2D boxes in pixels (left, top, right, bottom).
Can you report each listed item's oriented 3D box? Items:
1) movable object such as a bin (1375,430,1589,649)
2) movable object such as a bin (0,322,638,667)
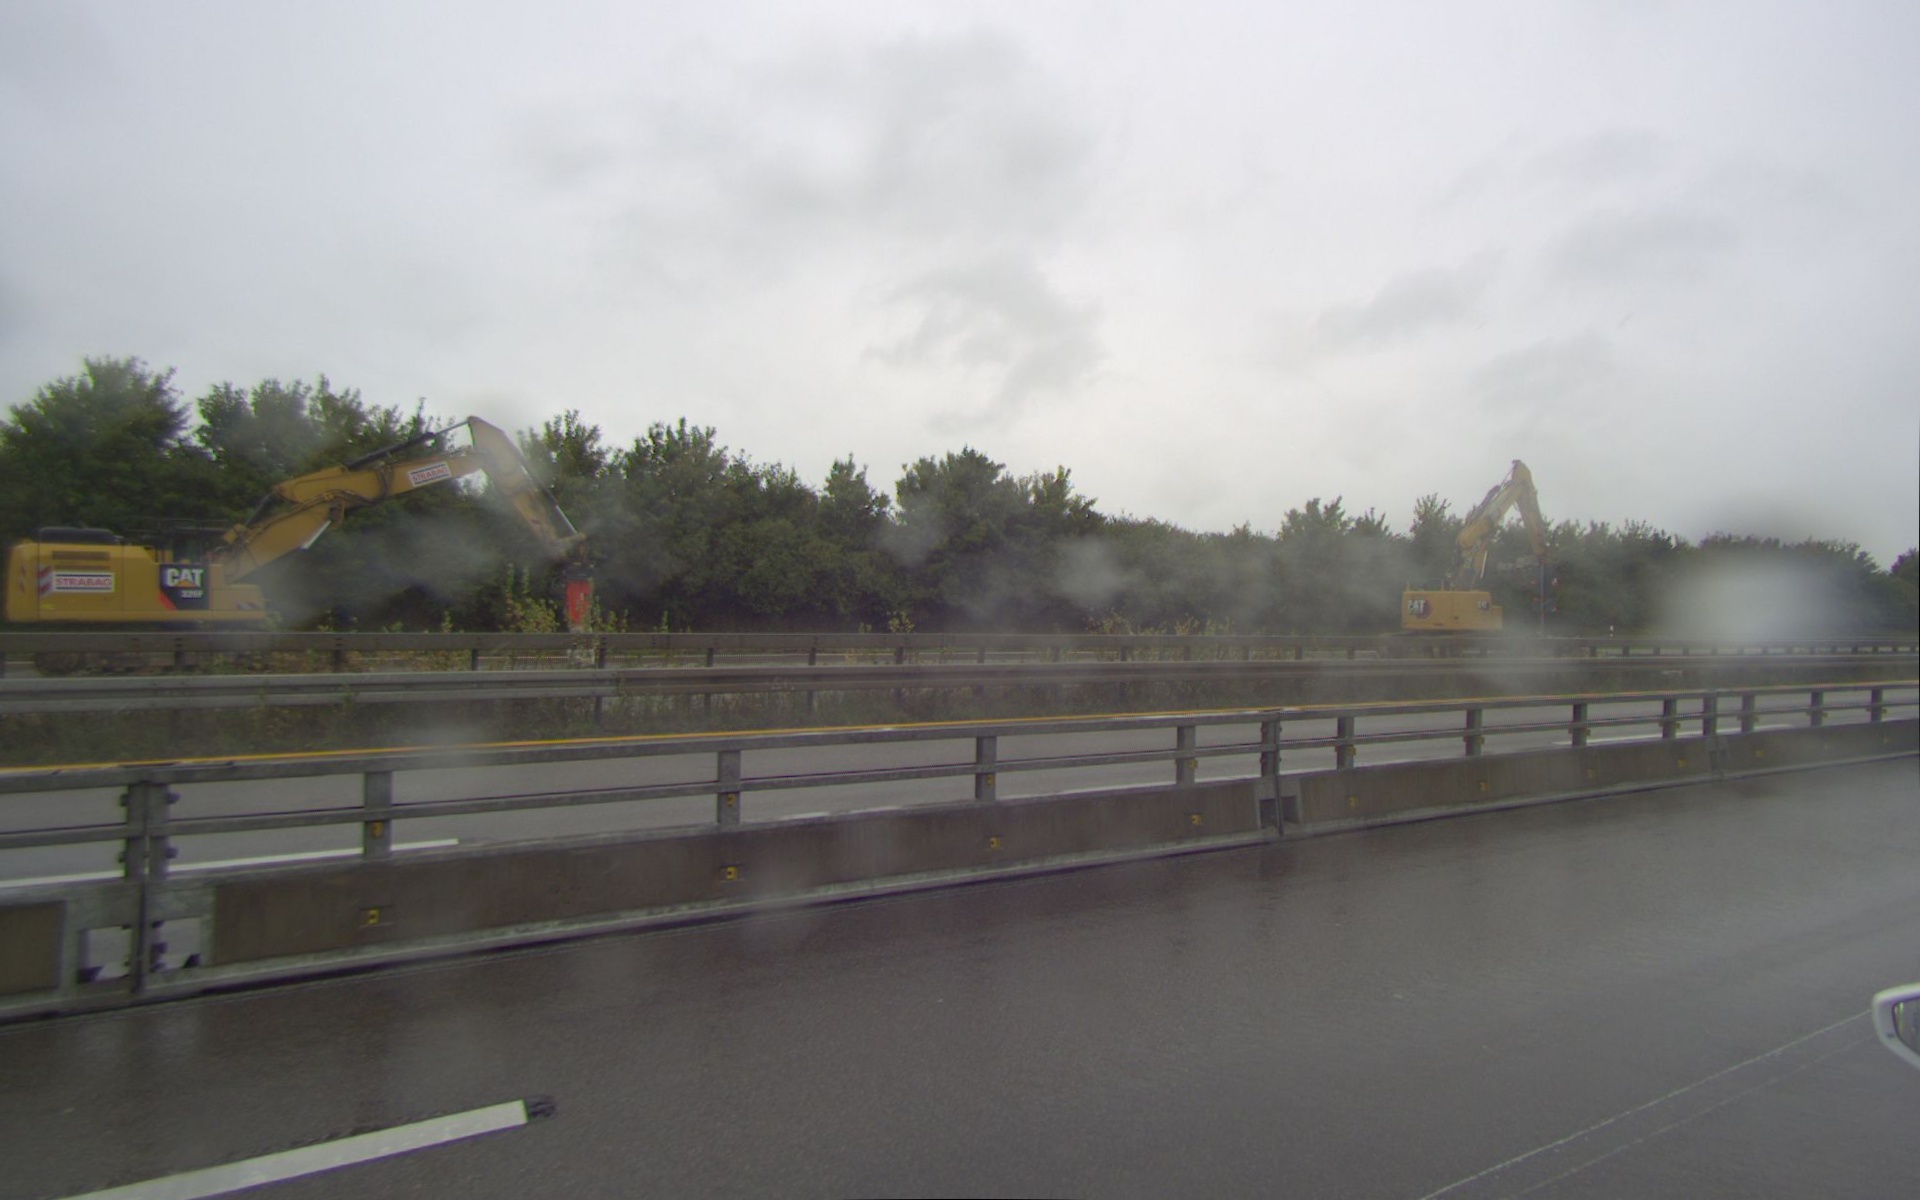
[{"bbox_3d":[21.697,-2.240,41.698,8.202,8.252,3.583,2,0,-27],"label":"movable object such as a bin"},{"bbox_3d":[-13.036,-1.713,21.779,10.904,5.994,4.155,2,0,-27],"label":"movable object such as a bin"}]
